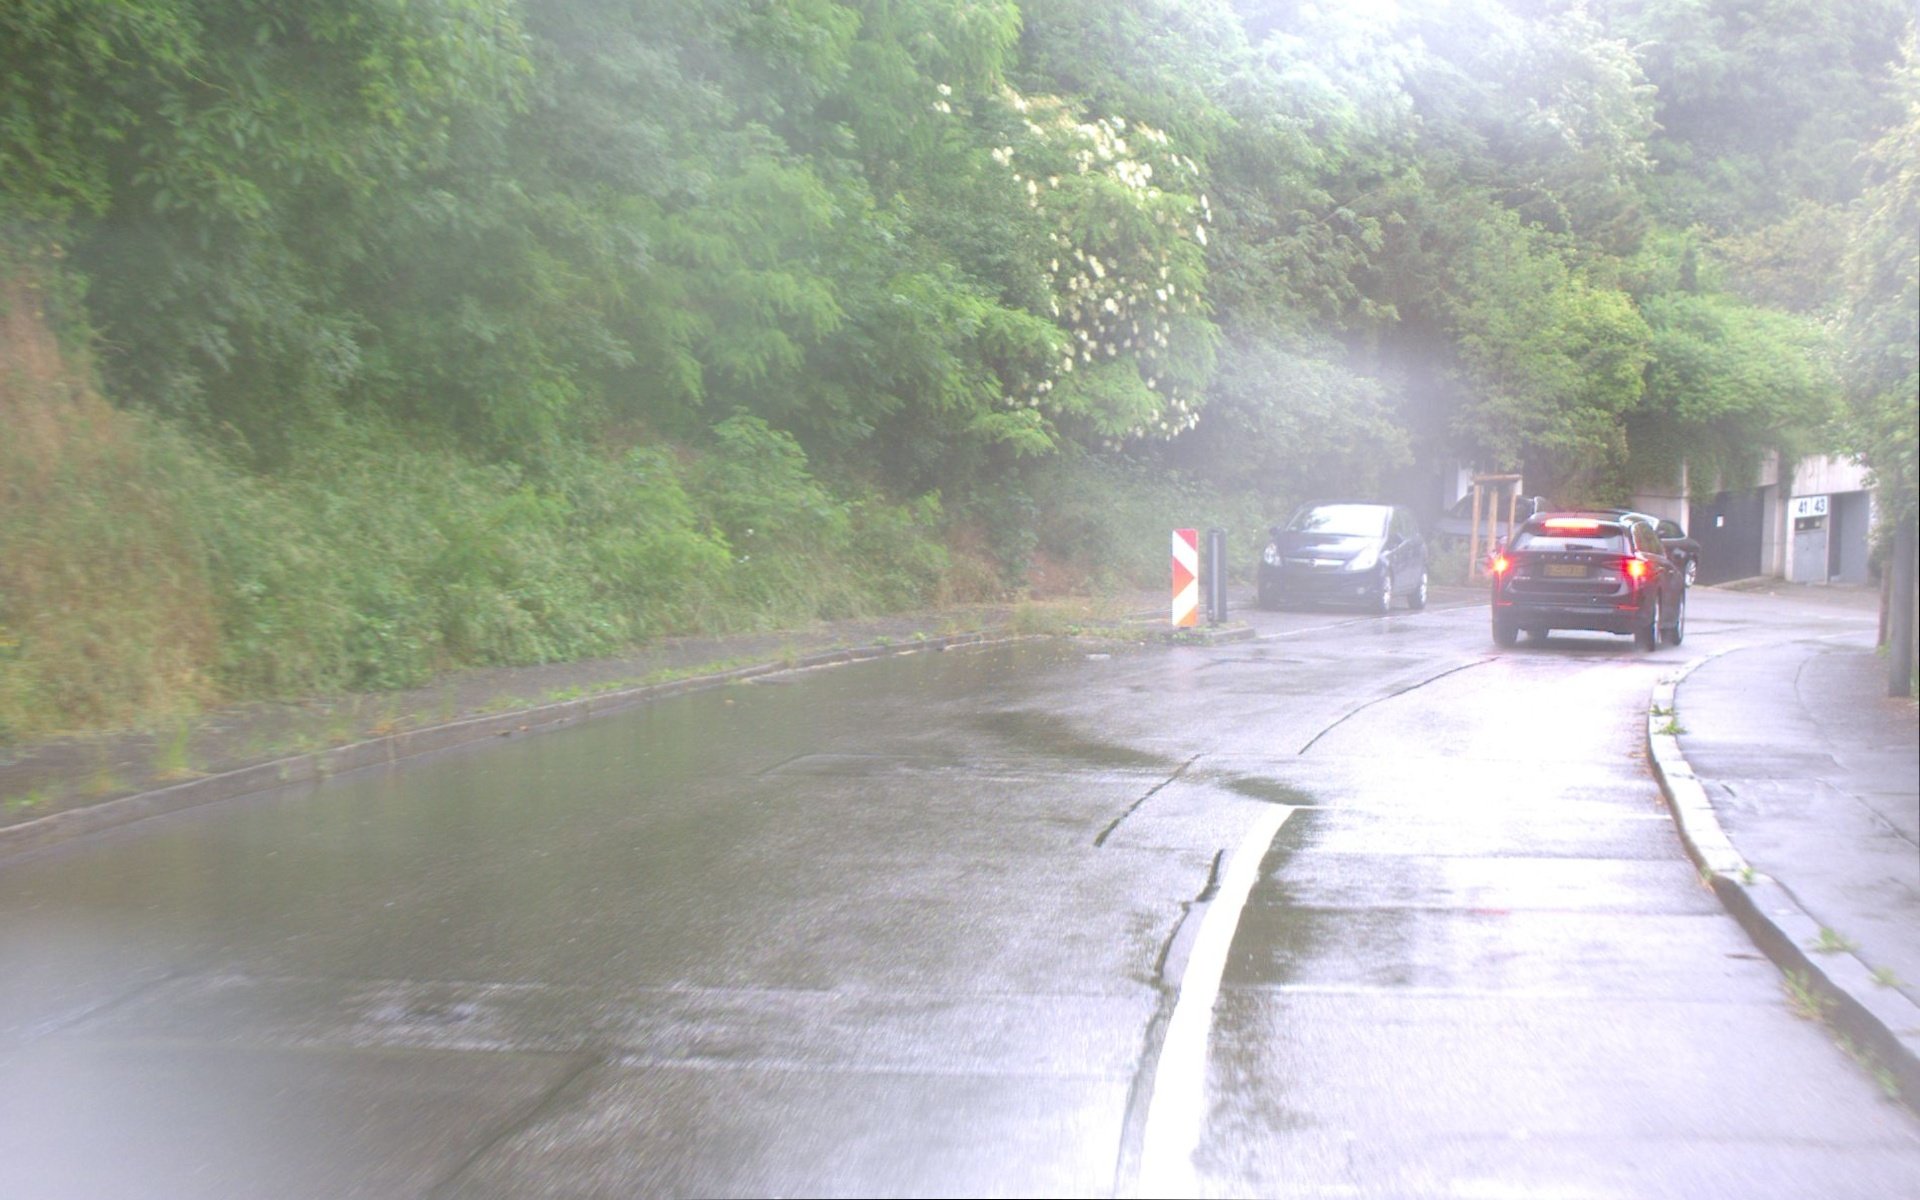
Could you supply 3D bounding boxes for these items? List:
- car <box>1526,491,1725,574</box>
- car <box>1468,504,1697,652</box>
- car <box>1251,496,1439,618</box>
[{"bbox_3d":[13.273,-1.323,68.428,1.998,1.503,4.560,4,3,37],"label":"car"},{"bbox_3d":[6.924,-0.290,37.961,1.870,1.507,4.089,2,2,19],"label":"car"},{"bbox_3d":[5.192,-0.616,45.958,1.701,1.466,3.997,3,3,17],"label":"car"}]
